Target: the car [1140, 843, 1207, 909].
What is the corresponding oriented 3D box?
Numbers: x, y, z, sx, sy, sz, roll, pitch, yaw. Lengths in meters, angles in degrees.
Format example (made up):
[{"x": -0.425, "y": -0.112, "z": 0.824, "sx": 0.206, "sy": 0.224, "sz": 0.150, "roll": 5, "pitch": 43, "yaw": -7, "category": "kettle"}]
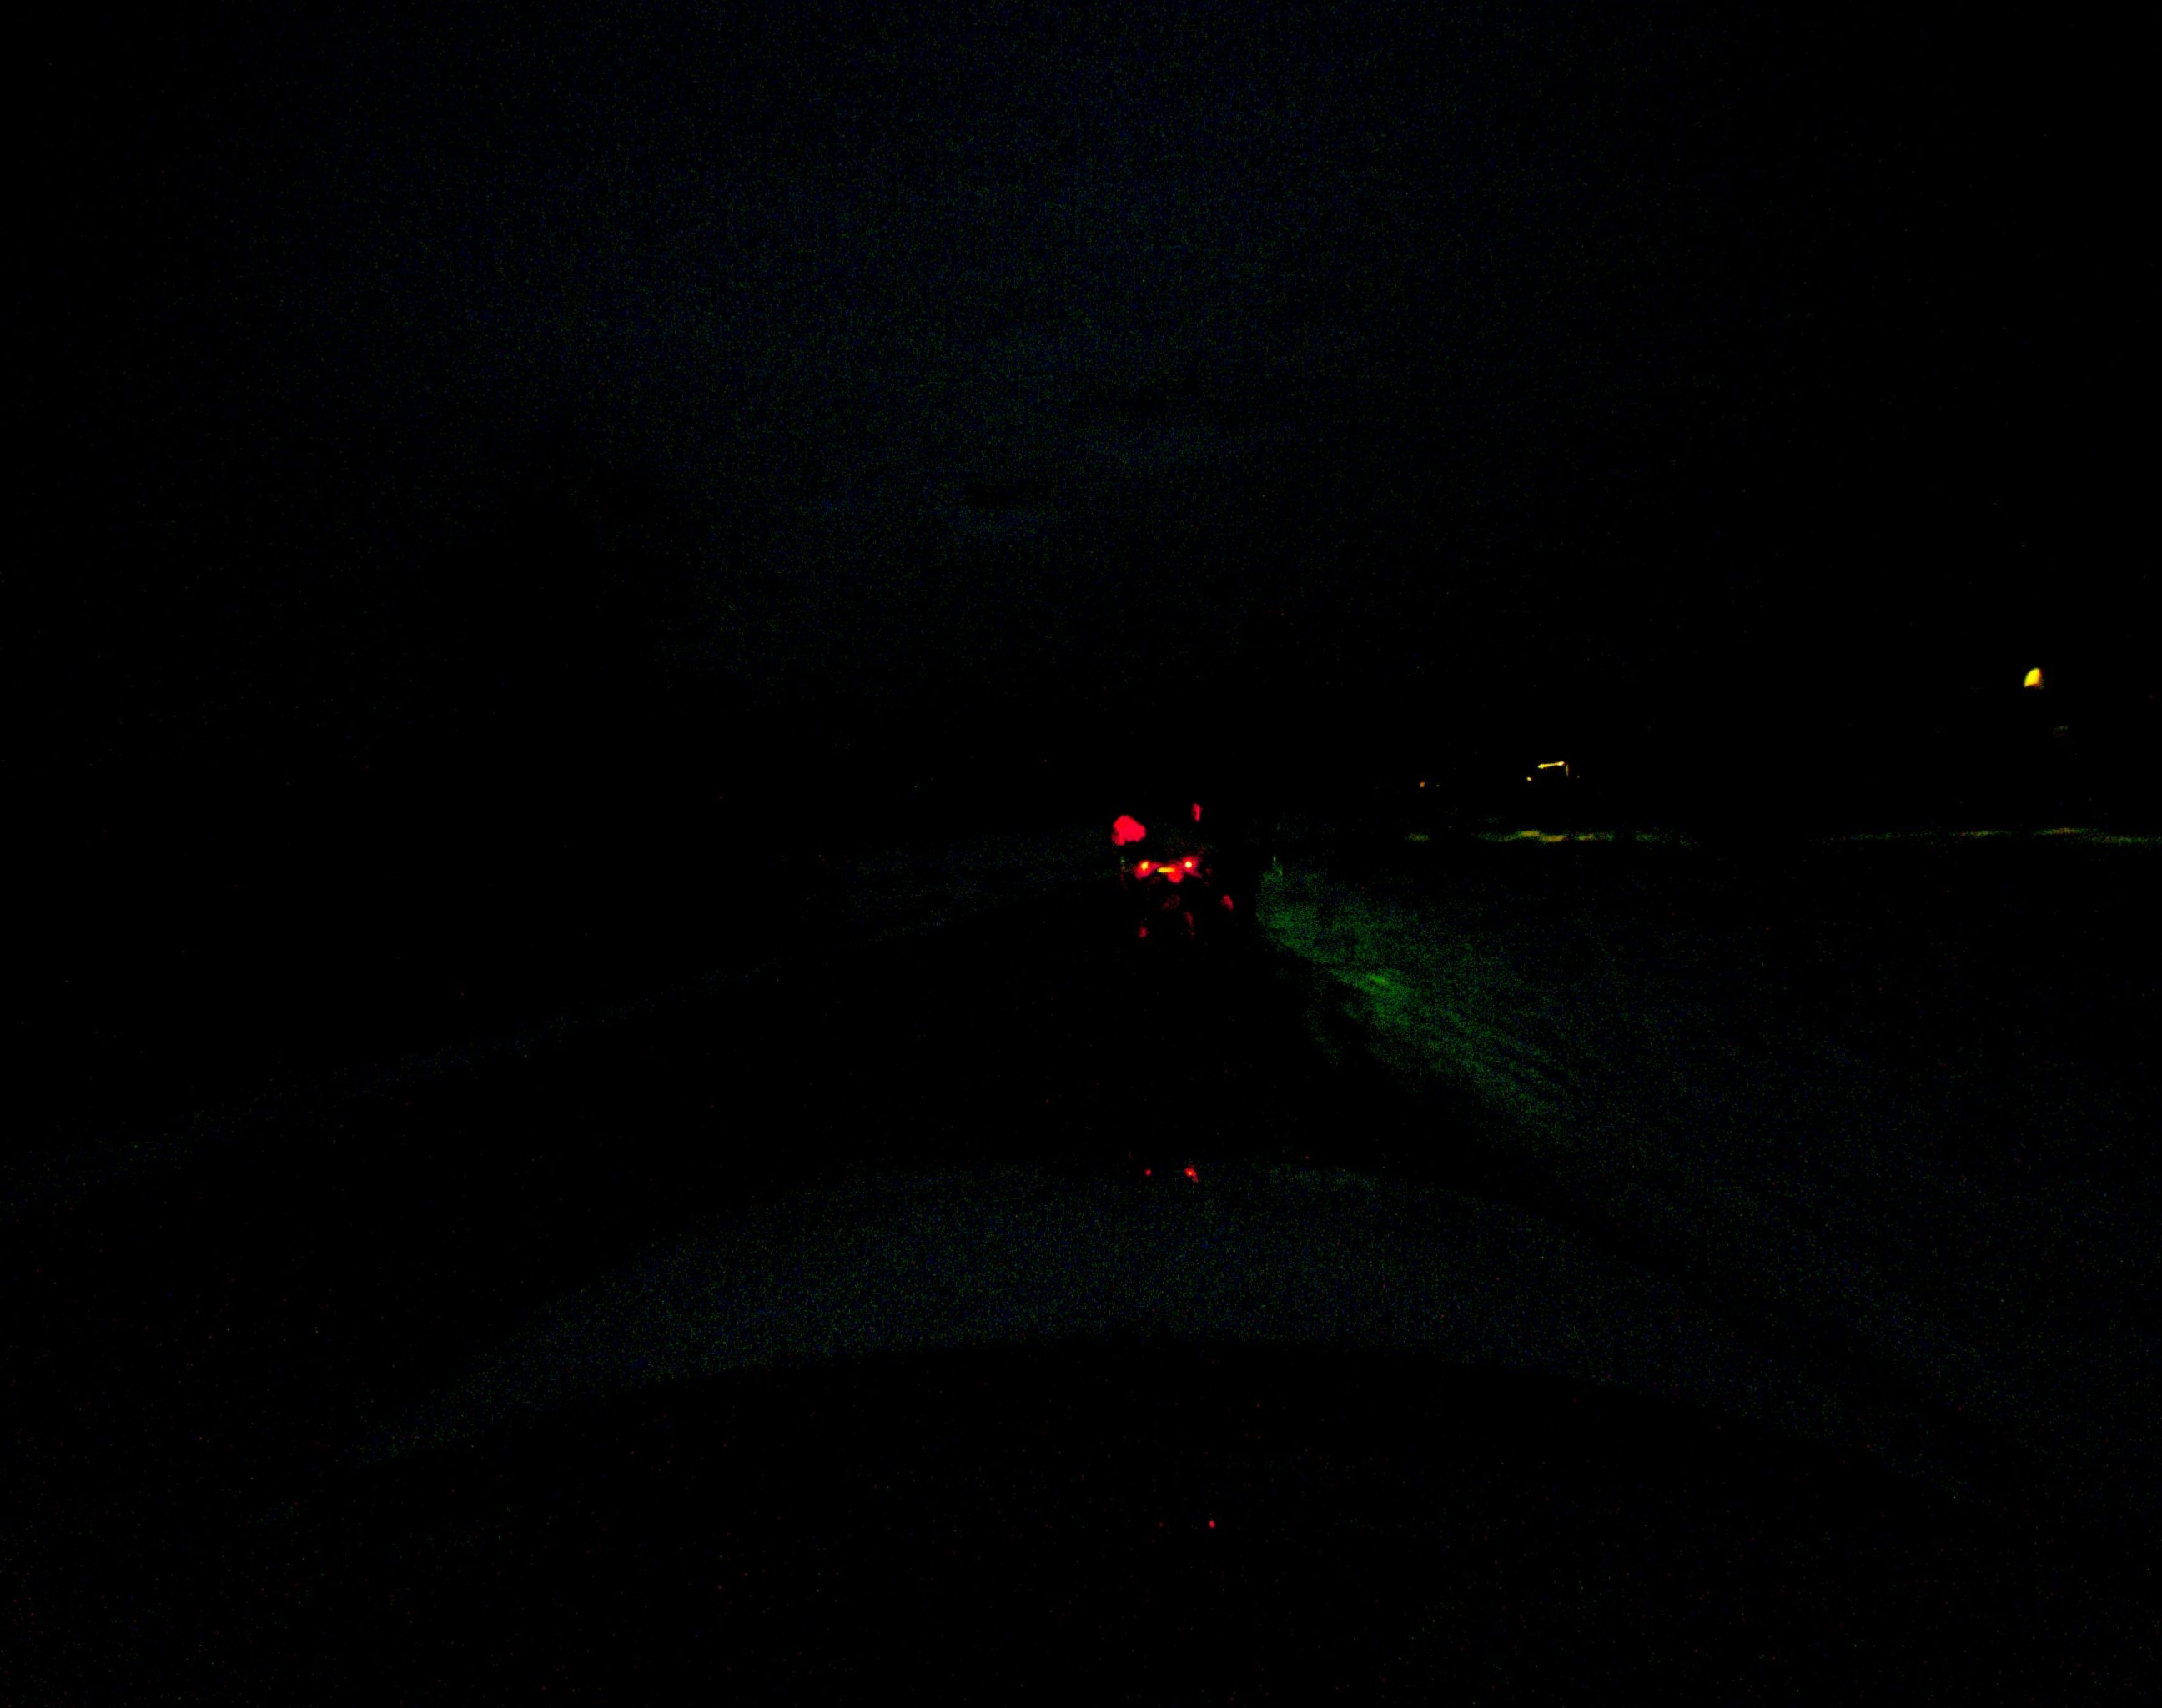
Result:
[{"x": 2.790, "y": 0.619, "z": 25.170, "sx": 1.814, "sy": 1.796, "sz": 3.581, "roll": -4, "pitch": 0, "yaw": 4, "category": "car"}]
